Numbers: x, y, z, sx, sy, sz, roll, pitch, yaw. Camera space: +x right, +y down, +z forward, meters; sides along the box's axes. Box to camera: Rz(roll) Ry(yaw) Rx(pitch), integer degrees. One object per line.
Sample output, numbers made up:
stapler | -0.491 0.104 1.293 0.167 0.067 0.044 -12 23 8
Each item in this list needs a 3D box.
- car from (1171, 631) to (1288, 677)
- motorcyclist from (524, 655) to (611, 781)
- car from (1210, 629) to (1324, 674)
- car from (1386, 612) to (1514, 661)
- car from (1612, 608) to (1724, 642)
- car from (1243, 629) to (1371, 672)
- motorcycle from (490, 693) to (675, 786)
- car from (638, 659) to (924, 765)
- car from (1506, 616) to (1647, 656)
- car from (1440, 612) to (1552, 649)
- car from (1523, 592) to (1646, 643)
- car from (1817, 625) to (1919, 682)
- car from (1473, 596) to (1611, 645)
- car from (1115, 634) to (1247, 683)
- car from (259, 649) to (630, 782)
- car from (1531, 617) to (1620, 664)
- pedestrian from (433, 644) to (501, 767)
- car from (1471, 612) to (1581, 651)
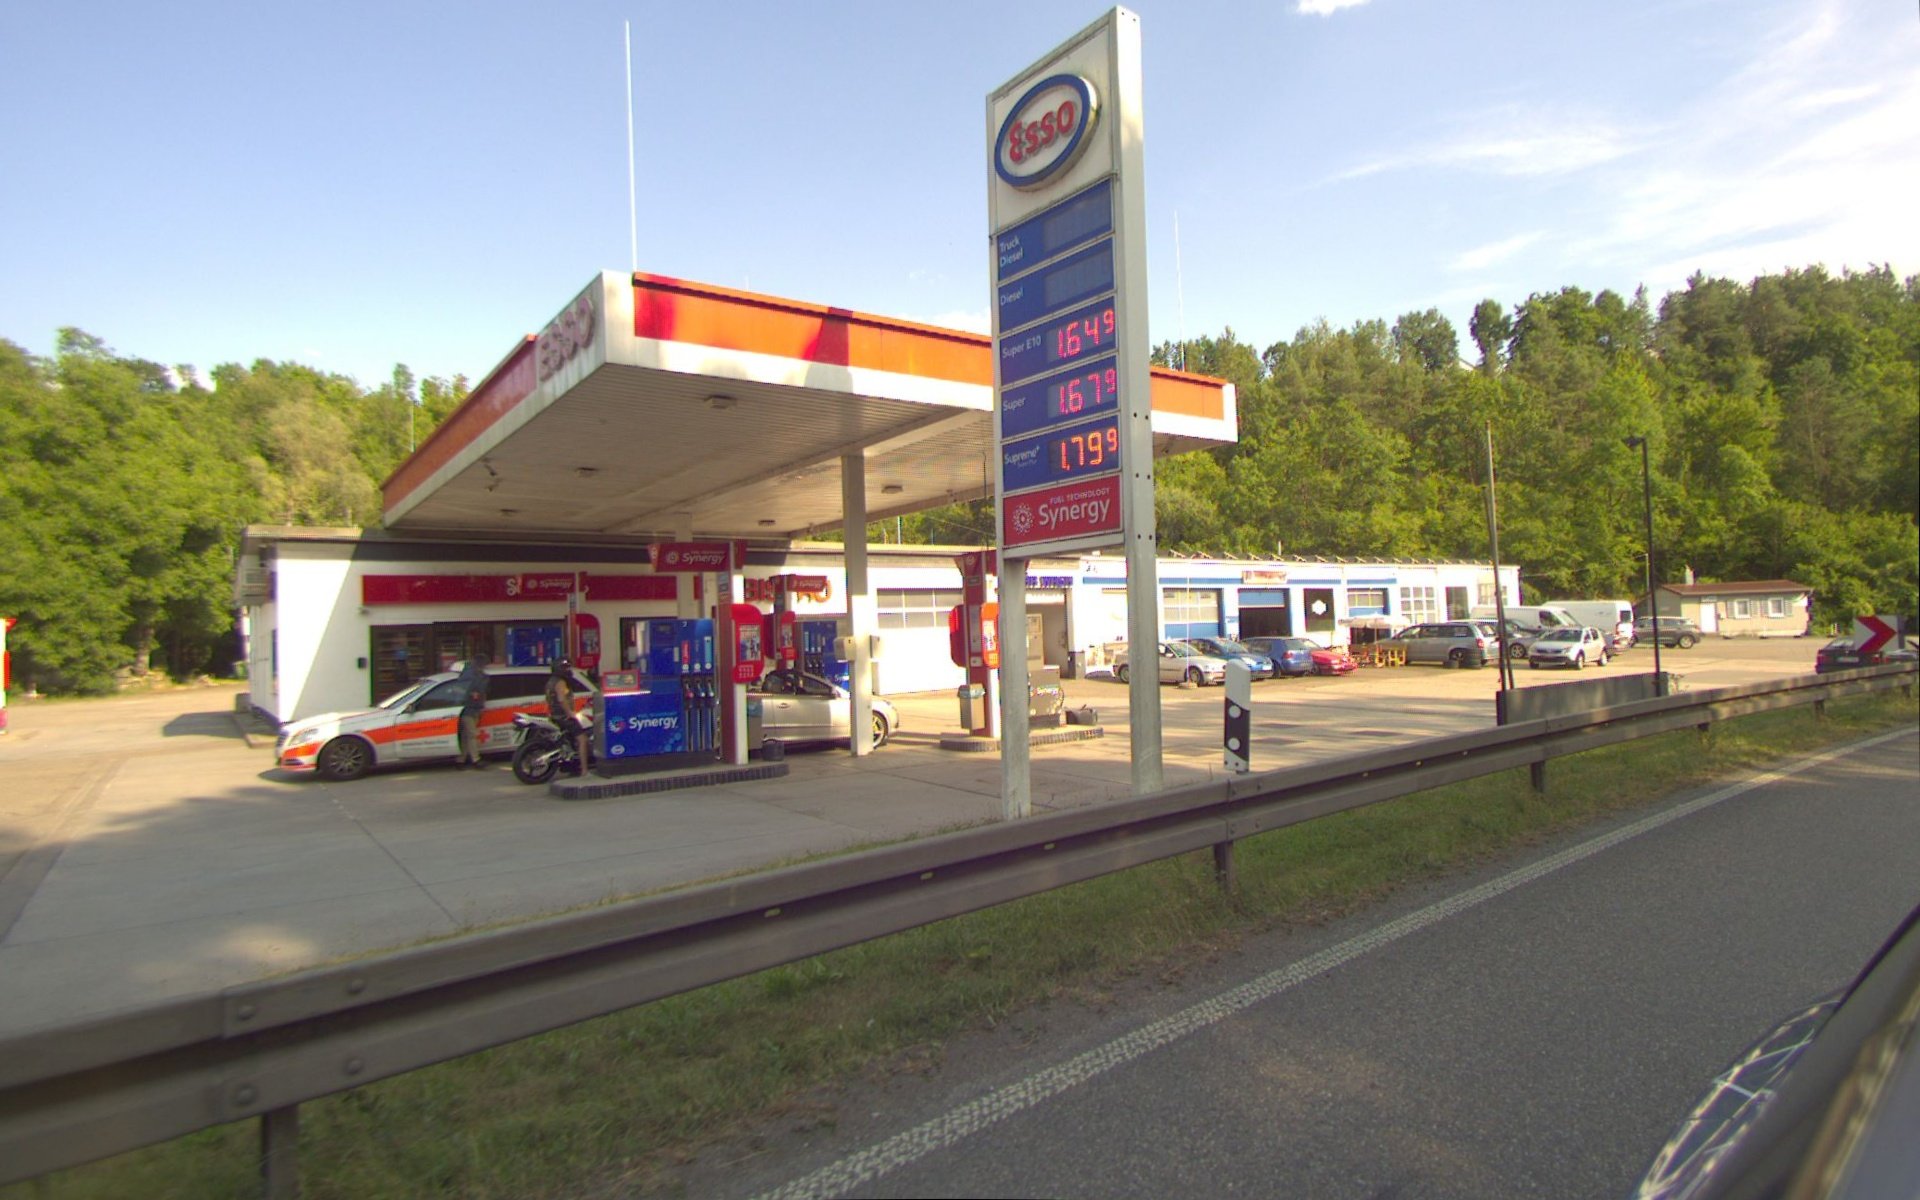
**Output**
car | 9.117 1.792 34.423 1.659 1.424 3.559 0 -2 -37
motorcyclist | -5.439 1.594 14.019 0.910 1.625 0.860 0 -3 -37
car | 10.812 1.782 35.809 1.702 1.464 3.553 0 -2 -37
car | 19.599 1.407 40.621 1.858 1.750 4.256 0 1 -39
car | 36.891 1.277 52.816 4.338 1.691 1.935 0 -1 13
car | 12.585 1.790 36.922 1.860 1.365 4.078 0 0 -37
motorcycle | -5.240 1.903 14.146 2.298 1.025 0.763 0 -2 -38
car | -2.886 1.746 16.739 4.308 1.336 1.847 0 -2 -37
car | 25.880 1.468 42.651 1.922 1.452 4.731 0 1 -39
car | 24.928 1.389 47.181 1.860 1.631 4.251 0 -1 -37
car | 31.927 0.871 51.883 2.168 2.480 4.919 0 0 -39
car | 25.369 1.393 27.387 4.185 1.370 1.832 0 -1 -27
car | 28.648 0.969 50.021 2.253 2.303 5.488 0 0 -37
car | 7.112 1.863 32.865 1.746 1.372 3.963 0 0 -41
car | -8.245 1.724 16.457 5.085 1.649 2.097 0 -2 -38
car | 23.308 1.489 38.268 3.920 1.616 1.793 0 0 -41
pedestrian | -7.479 1.580 15.368 0.611 1.800 0.700 -3 -3 20
car | 27.021 1.462 48.417 1.889 1.631 4.171 0 1 -37
